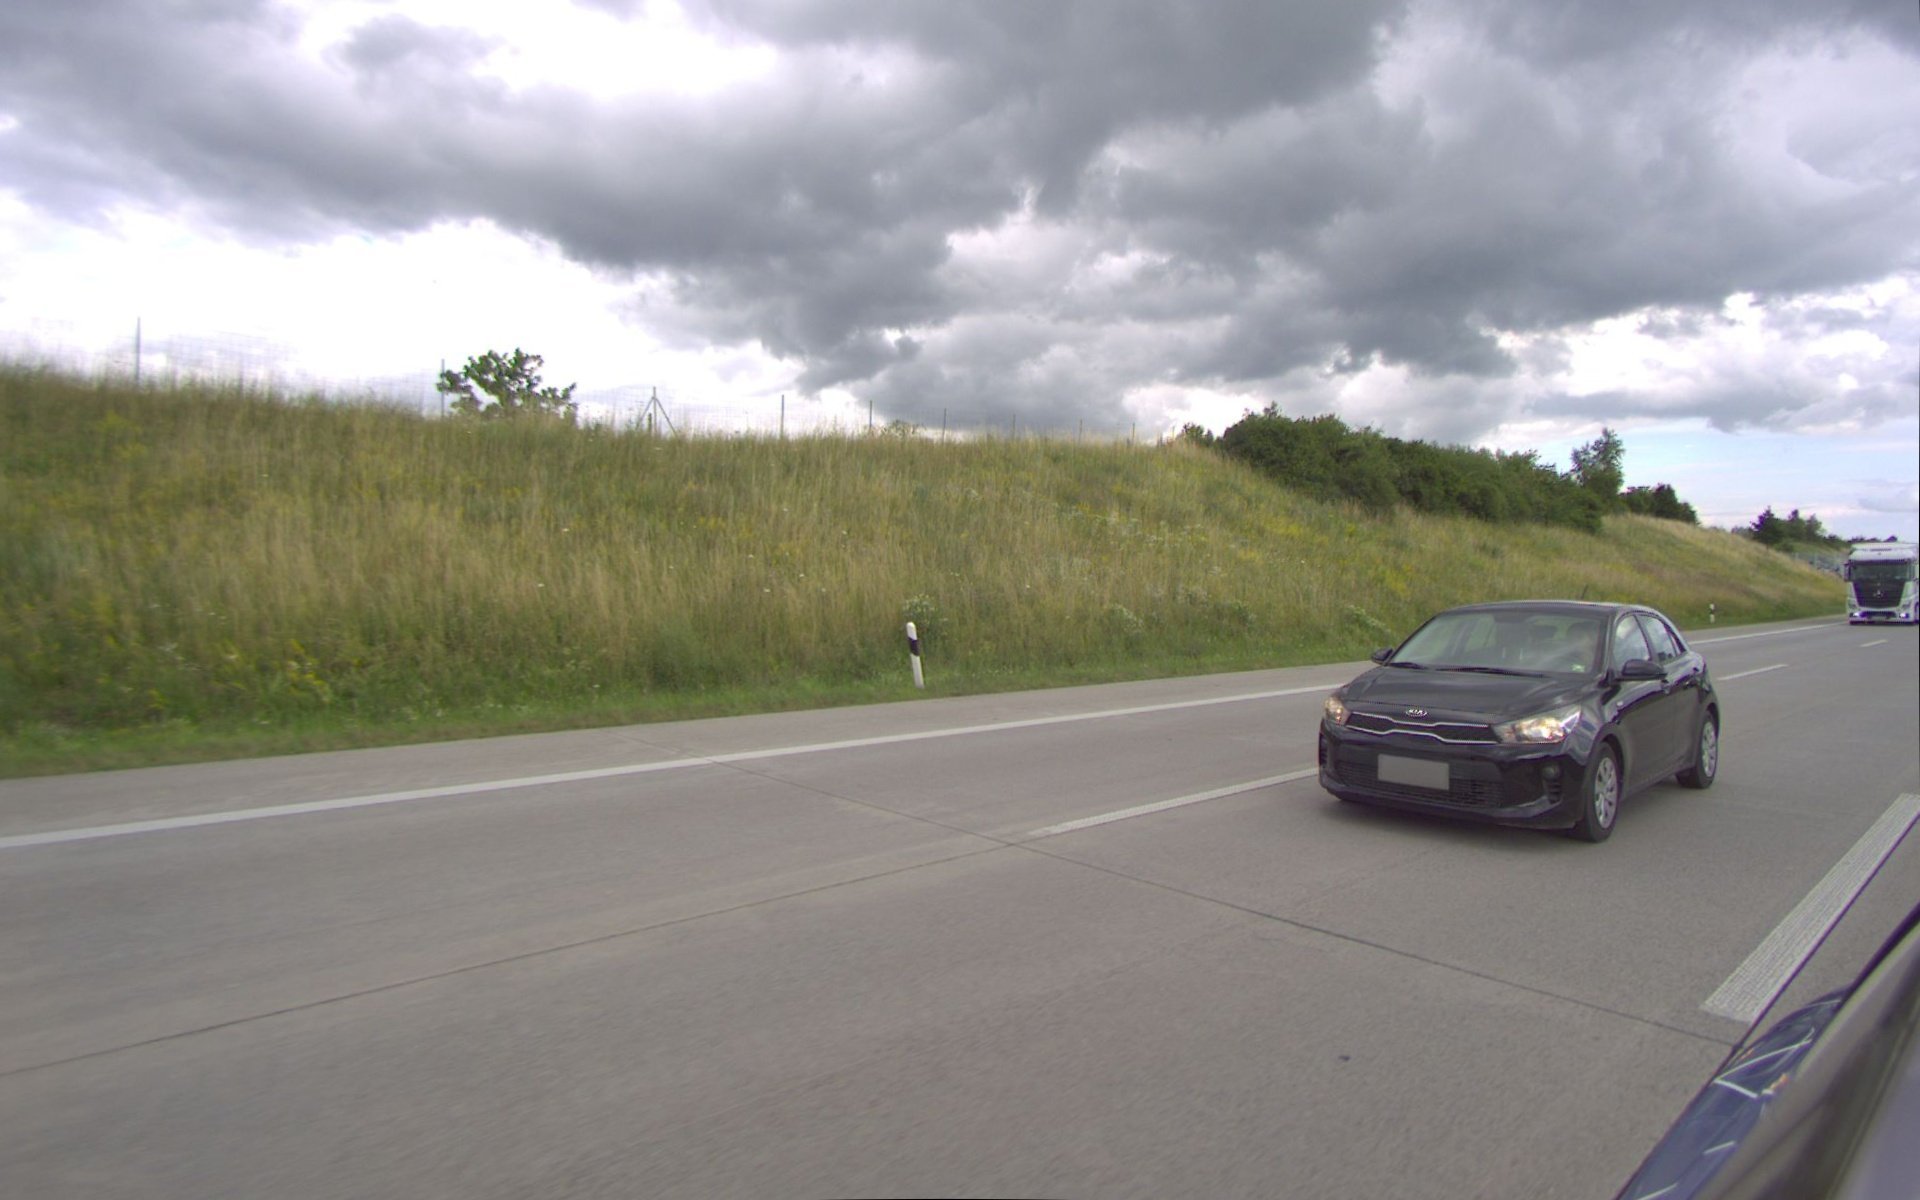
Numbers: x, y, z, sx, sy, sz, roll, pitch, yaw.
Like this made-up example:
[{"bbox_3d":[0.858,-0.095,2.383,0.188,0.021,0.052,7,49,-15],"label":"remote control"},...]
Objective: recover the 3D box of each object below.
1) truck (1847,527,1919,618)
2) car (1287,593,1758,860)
[{"bbox_3d":[48.175,-1.287,51.643,10.520,4.253,2.853,0,0,-40],"label":"truck"},{"bbox_3d":[4.248,0.672,7.401,3.928,1.431,1.690,0,1,-39],"label":"car"}]
